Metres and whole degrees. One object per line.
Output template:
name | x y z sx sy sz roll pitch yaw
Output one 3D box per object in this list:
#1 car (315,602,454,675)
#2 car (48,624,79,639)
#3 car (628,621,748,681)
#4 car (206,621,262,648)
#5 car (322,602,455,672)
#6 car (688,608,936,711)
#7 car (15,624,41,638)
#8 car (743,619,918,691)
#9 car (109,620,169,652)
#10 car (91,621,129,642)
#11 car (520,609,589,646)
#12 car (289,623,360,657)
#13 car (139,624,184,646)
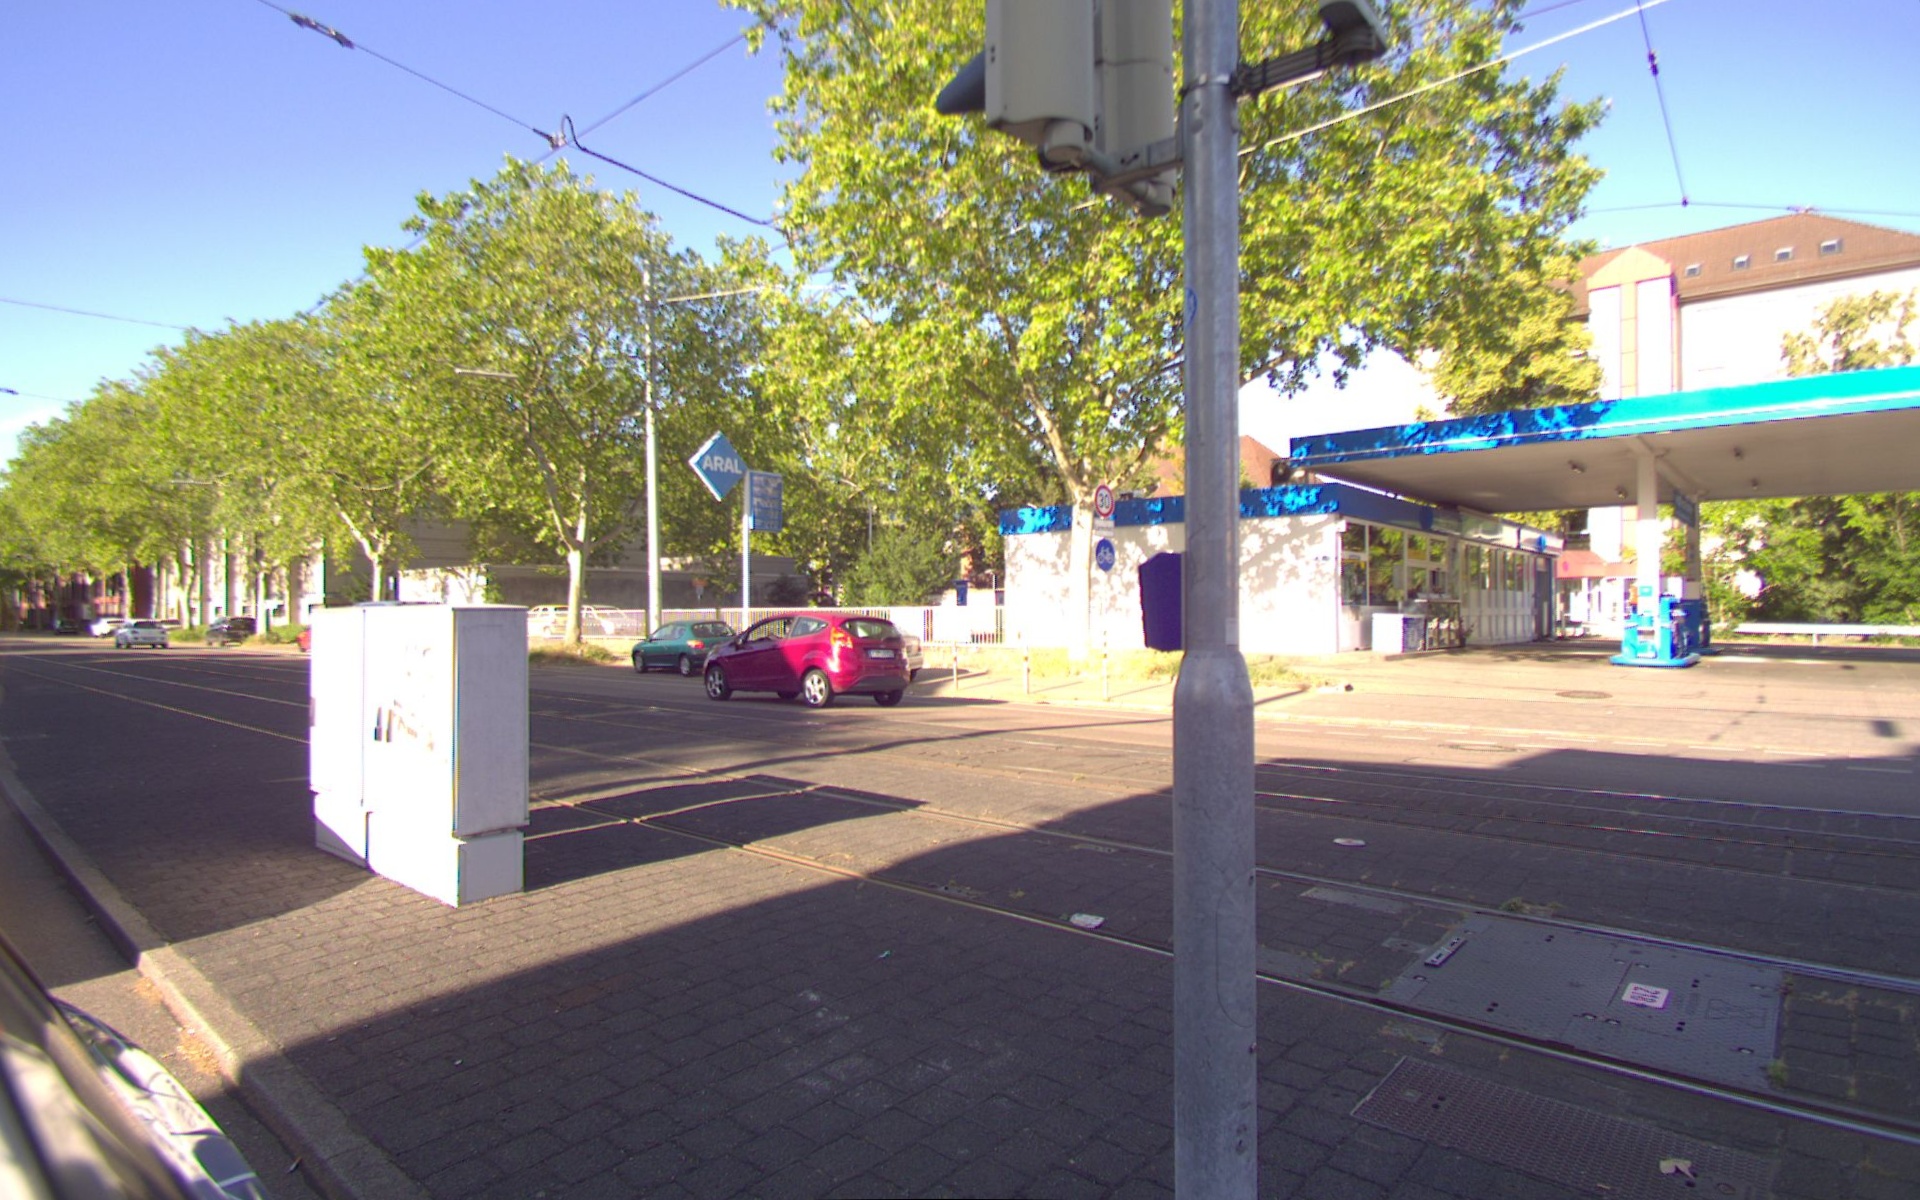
car | -16.492 1.127 28.887 5.111 1.889 1.863 -4 -2 41
car | -85.181 3.000 96.157 3.998 1.420 1.678 -1 -2 41
car | -7.248 1.311 26.863 3.253 1.431 1.526 -1 0 41
car | -40.598 1.905 56.570 3.998 1.420 1.678 -1 -2 41
car | -16.245 1.008 28.683 4.390 1.860 1.827 -1 -2 39
car | -2.414 0.878 16.013 3.998 1.431 1.678 -1 -3 41
car | -102.841 3.414 111.624 3.998 1.420 1.678 -1 -2 41
car | -2.997 1.177 22.970 3.998 1.431 1.709 -1 0 41
car | -41.822 1.796 51.525 3.998 1.507 1.741 -1 0 41
car | -66.810 2.437 79.541 3.998 1.569 1.678 -1 -2 41
car | -16.815 1.108 41.954 3.151 1.431 1.525 -1 0 44
car | -29.052 1.780 46.250 3.998 1.480 1.678 -1 -2 41
car | -53.808 2.310 68.193 3.998 1.420 1.678 -1 -2 41
